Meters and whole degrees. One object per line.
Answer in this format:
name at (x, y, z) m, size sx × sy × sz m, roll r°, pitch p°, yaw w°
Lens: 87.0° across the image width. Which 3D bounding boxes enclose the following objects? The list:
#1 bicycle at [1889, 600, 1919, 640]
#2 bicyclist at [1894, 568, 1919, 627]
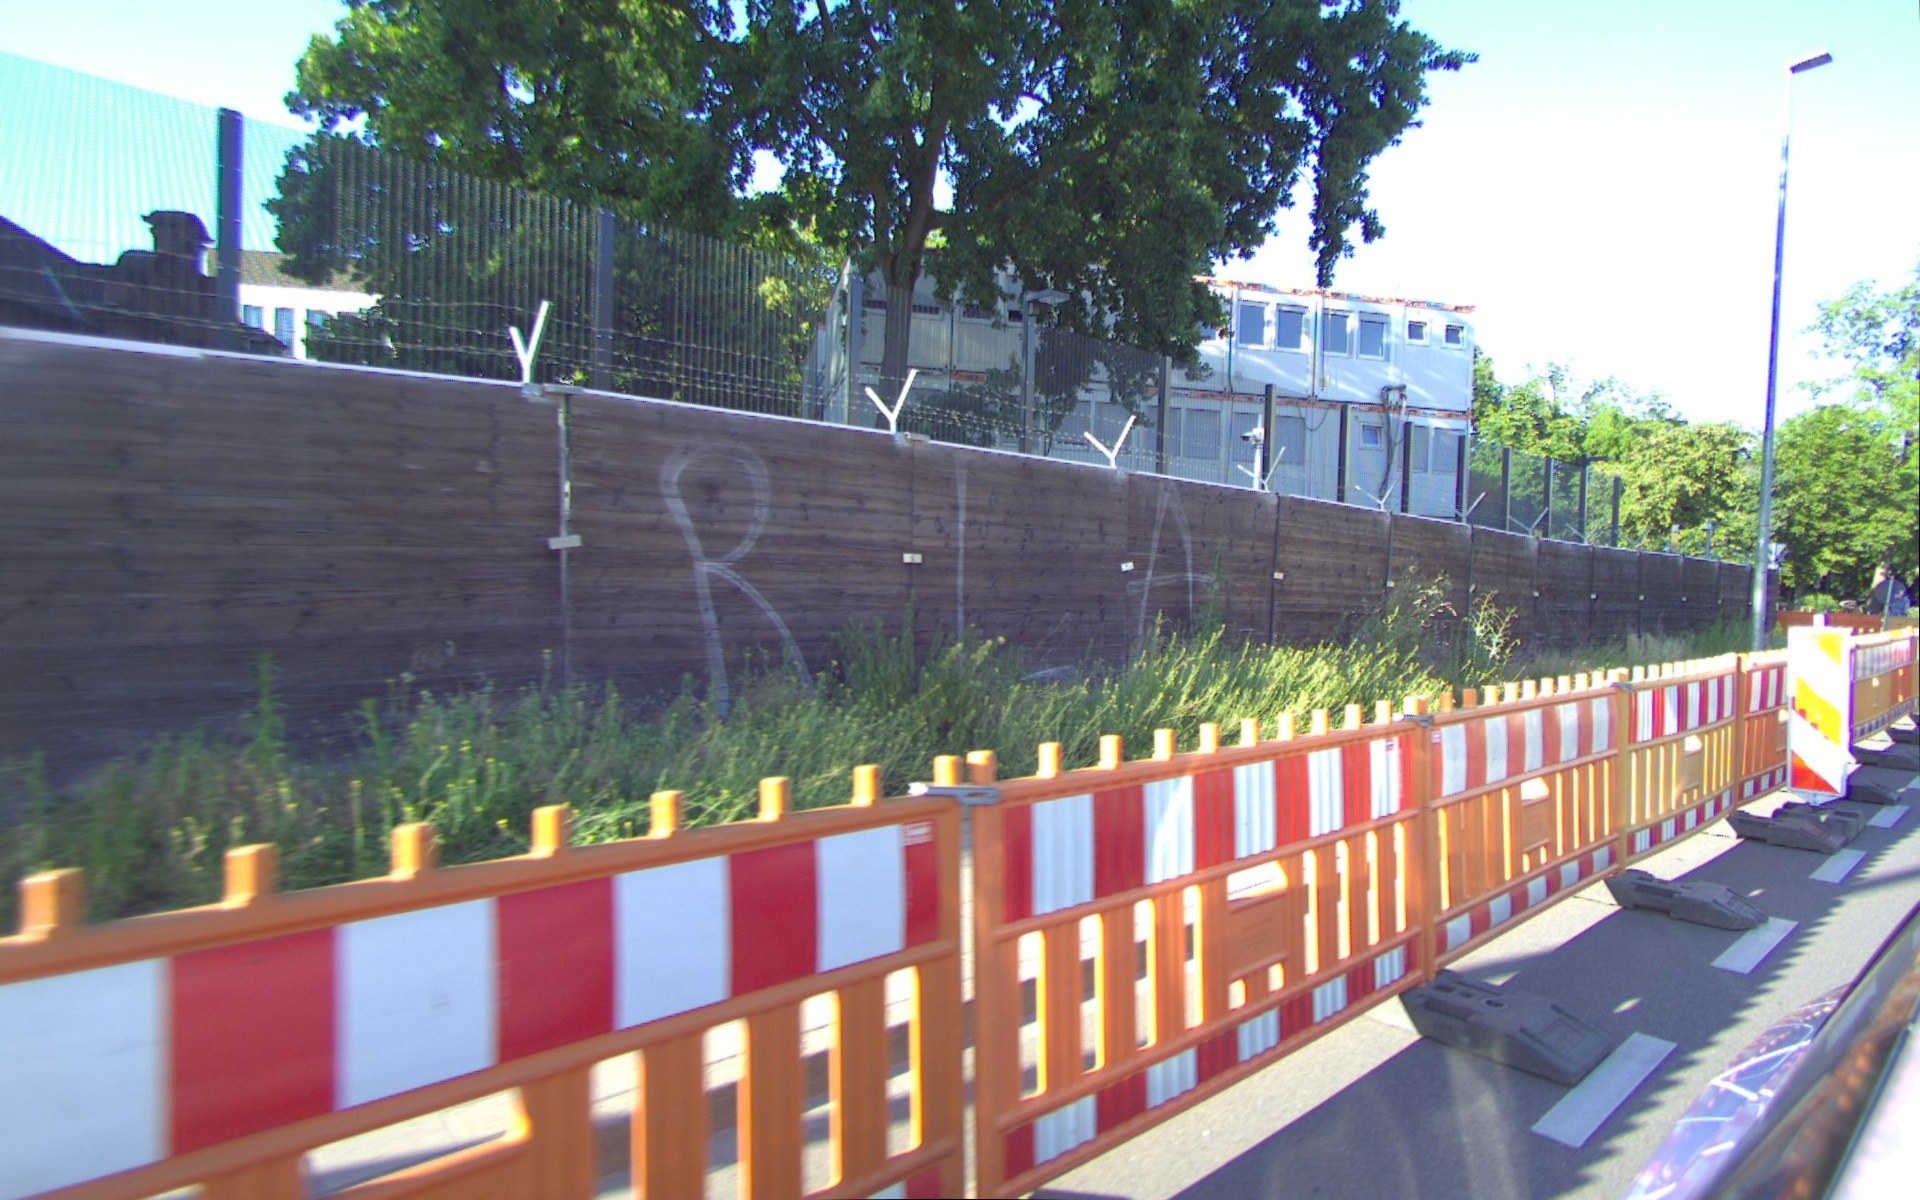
bicycle at (26.564, 0.542, 28.402) m, size 1.877 × 1.074 × 0.429 m, roll 0°, pitch 2°, yaw -39°
bicyclist at (26.776, -0.075, 28.479) m, size 0.887 × 1.634 × 0.585 m, roll 0°, pitch 2°, yaw -40°
